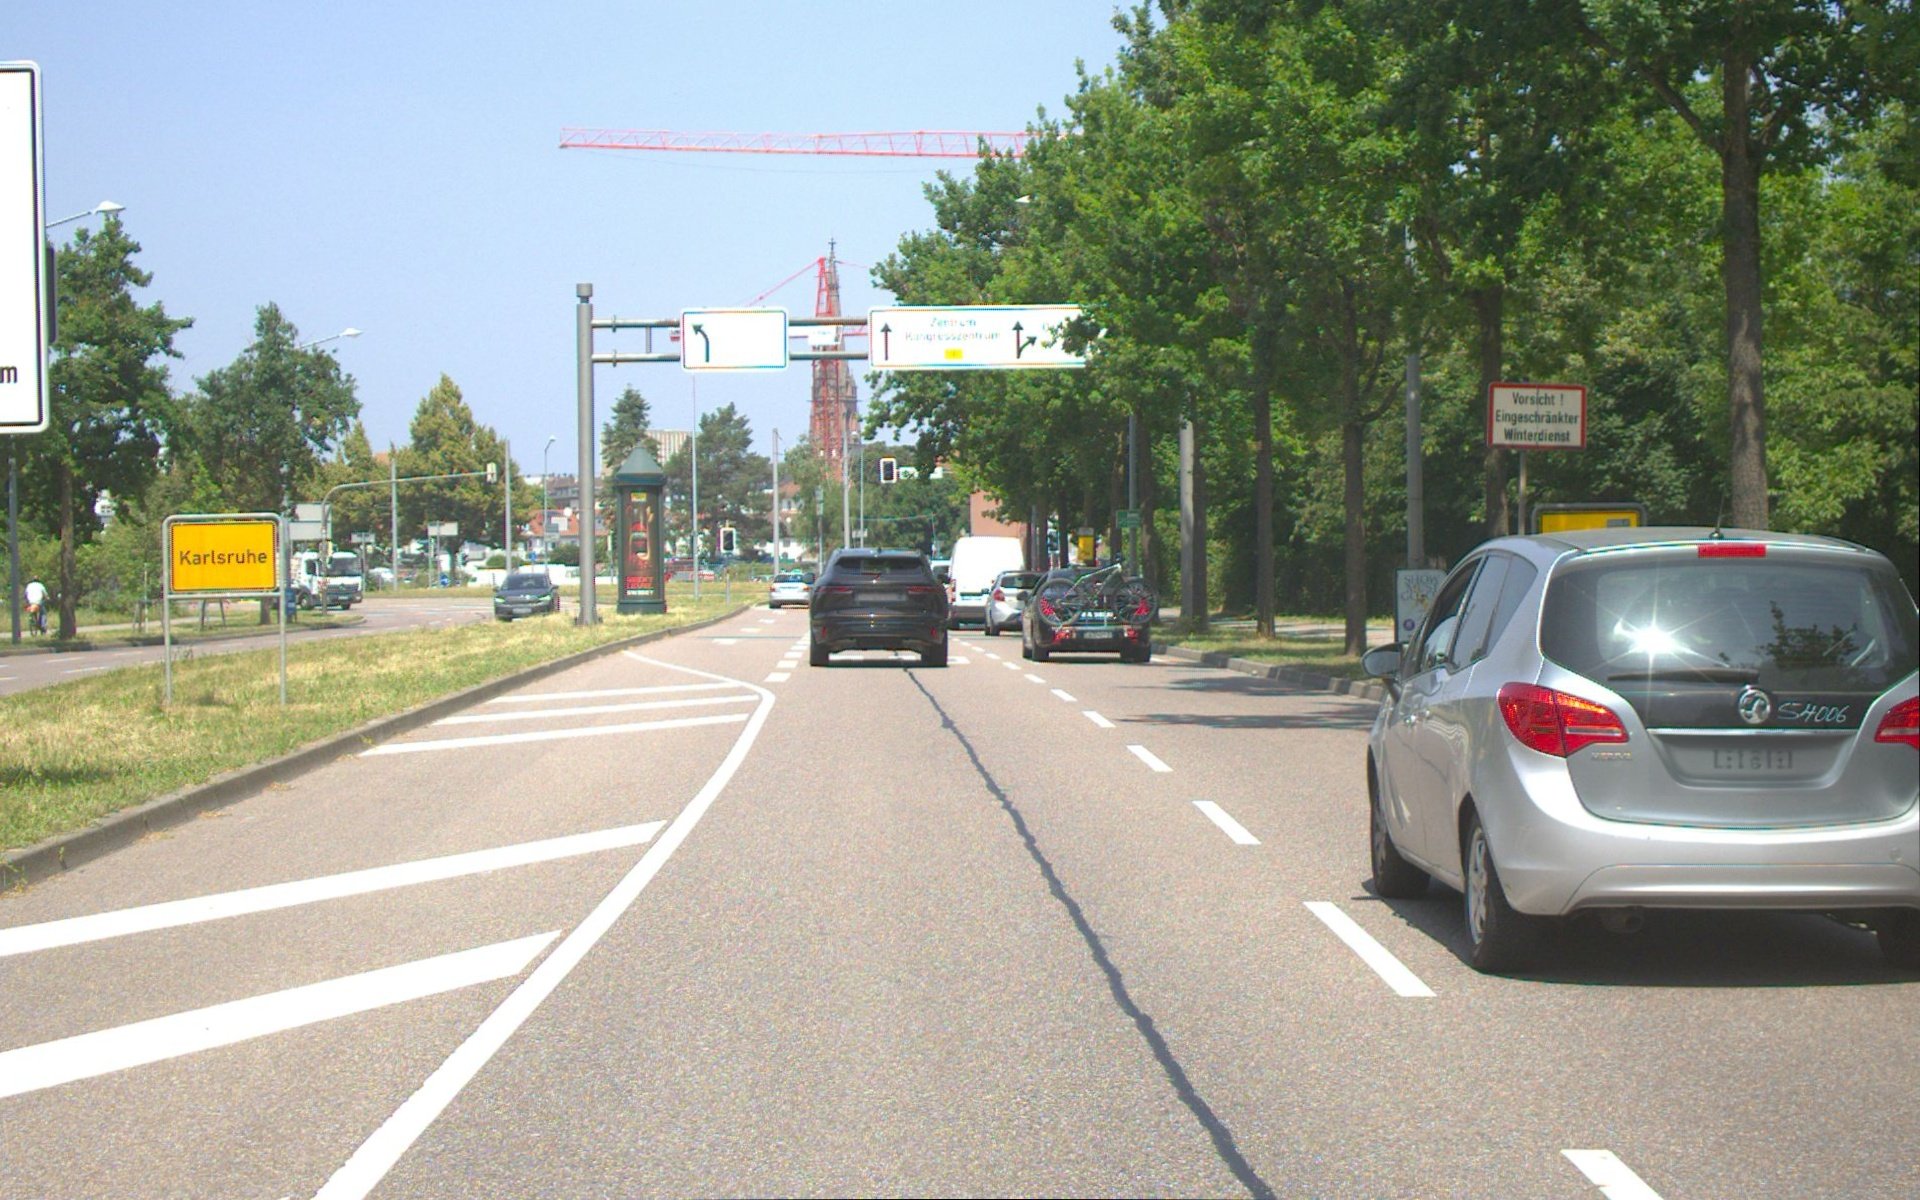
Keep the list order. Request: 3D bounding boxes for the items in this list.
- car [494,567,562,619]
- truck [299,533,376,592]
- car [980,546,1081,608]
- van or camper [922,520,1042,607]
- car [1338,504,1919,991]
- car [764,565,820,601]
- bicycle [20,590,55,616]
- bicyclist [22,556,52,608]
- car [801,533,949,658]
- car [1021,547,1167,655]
[{"bbox_3d":[-14.007,-0.240,111.603,1.892,1.605,4.535,-1,1,-4],"label":"car"},{"bbox_3d":[-27.856,-1.718,154.067,2.638,2.568,6.319,-1,1,-4],"label":"truck"},{"bbox_3d":[1.588,-0.531,79.021,1.654,1.351,4.462,-1,1,-7],"label":"car"},{"bbox_3d":[0.563,-0.999,93.899,2.493,2.283,4.922,-1,1,-9],"label":"van or camper"},{"bbox_3d":[2.603,0.456,13.343,1.792,1.606,3.891,0,1,-1],"label":"car"},{"bbox_3d":[-6.677,-0.690,136.570,1.993,1.316,4.001,0,1,-6],"label":"car"},{"bbox_3d":[-26.750,0.088,99.737,0.481,0.713,1.850,-1,0,1],"label":"bicycle"},{"bbox_3d":[-26.756,-0.526,99.678,0.623,1.484,0.757,-1,0,1],"label":"bicyclist"},{"bbox_3d":[-1.164,-0.101,48.669,1.998,1.684,4.034,0,1,0],"label":"car"},{"bbox_3d":[1.968,-0.019,51.546,2.014,1.512,4.461,0,1,0],"label":"car"}]
